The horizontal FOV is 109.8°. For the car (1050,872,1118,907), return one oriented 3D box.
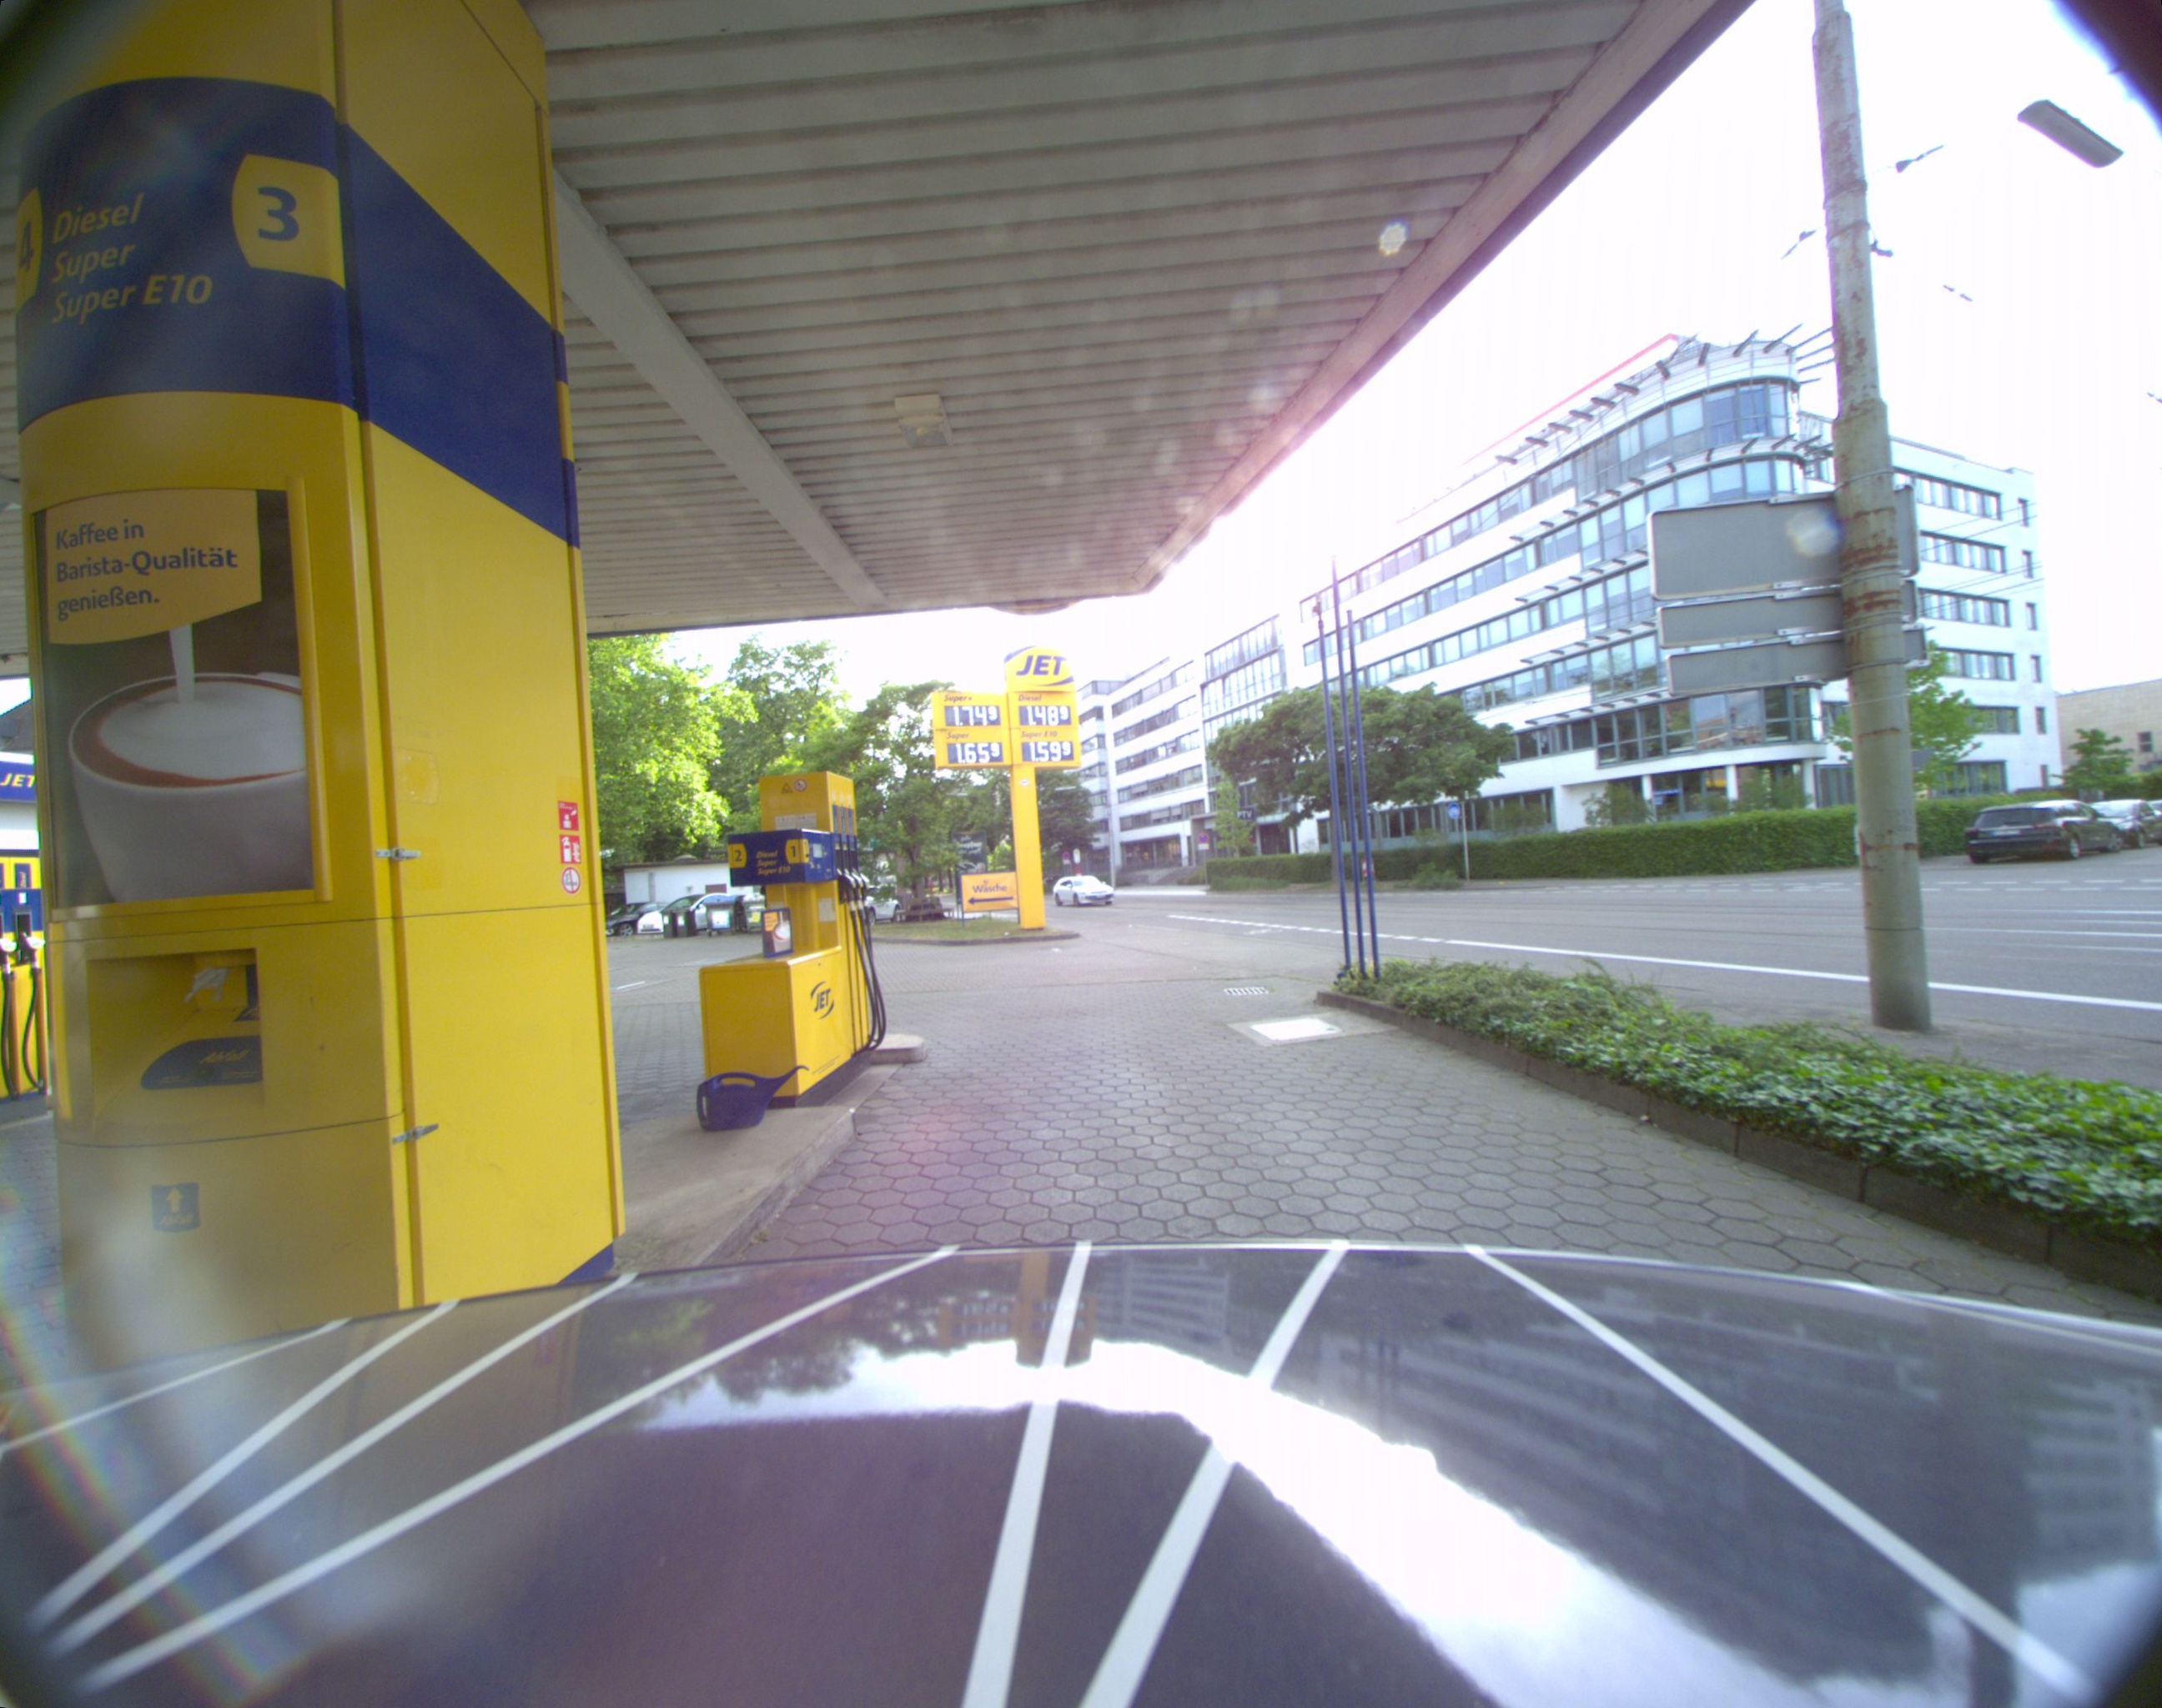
[{"bbox_3d":[0.061,1.780,39.047,1.865,1.500,4.821,-5,0,-20],"label":"car"}]

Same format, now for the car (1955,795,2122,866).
[{"bbox_3d":[27.423,-0.672,21.756,4.397,1.678,1.820,-4,-1,-24],"label":"car"}]

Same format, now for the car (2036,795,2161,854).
[{"bbox_3d":[32.581,-0.962,24.067,4.201,1.568,1.820,-4,-1,-24],"label":"car"}]

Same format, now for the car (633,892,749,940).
[{"bbox_3d":[-15.385,2.409,30.253,1.823,1.575,4.200,-4,-2,10],"label":"car"}]

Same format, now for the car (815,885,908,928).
[{"bbox_3d":[-8.651,2.044,30.377,1.823,1.449,4.200,-4,-2,10],"label":"car"}]

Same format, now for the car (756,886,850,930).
[{"bbox_3d":[-11.741,2.262,32.464,1.823,1.575,4.200,-4,-2,10],"label":"car"}]

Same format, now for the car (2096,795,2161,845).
[{"bbox_3d":[37.110,-1.256,26.015,4.201,1.568,1.820,-4,-1,-24],"label":"car"}]

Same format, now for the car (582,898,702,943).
[{"bbox_3d":[-17.529,2.628,30.607,1.823,1.426,4.200,-4,-2,10],"label":"car"}]
